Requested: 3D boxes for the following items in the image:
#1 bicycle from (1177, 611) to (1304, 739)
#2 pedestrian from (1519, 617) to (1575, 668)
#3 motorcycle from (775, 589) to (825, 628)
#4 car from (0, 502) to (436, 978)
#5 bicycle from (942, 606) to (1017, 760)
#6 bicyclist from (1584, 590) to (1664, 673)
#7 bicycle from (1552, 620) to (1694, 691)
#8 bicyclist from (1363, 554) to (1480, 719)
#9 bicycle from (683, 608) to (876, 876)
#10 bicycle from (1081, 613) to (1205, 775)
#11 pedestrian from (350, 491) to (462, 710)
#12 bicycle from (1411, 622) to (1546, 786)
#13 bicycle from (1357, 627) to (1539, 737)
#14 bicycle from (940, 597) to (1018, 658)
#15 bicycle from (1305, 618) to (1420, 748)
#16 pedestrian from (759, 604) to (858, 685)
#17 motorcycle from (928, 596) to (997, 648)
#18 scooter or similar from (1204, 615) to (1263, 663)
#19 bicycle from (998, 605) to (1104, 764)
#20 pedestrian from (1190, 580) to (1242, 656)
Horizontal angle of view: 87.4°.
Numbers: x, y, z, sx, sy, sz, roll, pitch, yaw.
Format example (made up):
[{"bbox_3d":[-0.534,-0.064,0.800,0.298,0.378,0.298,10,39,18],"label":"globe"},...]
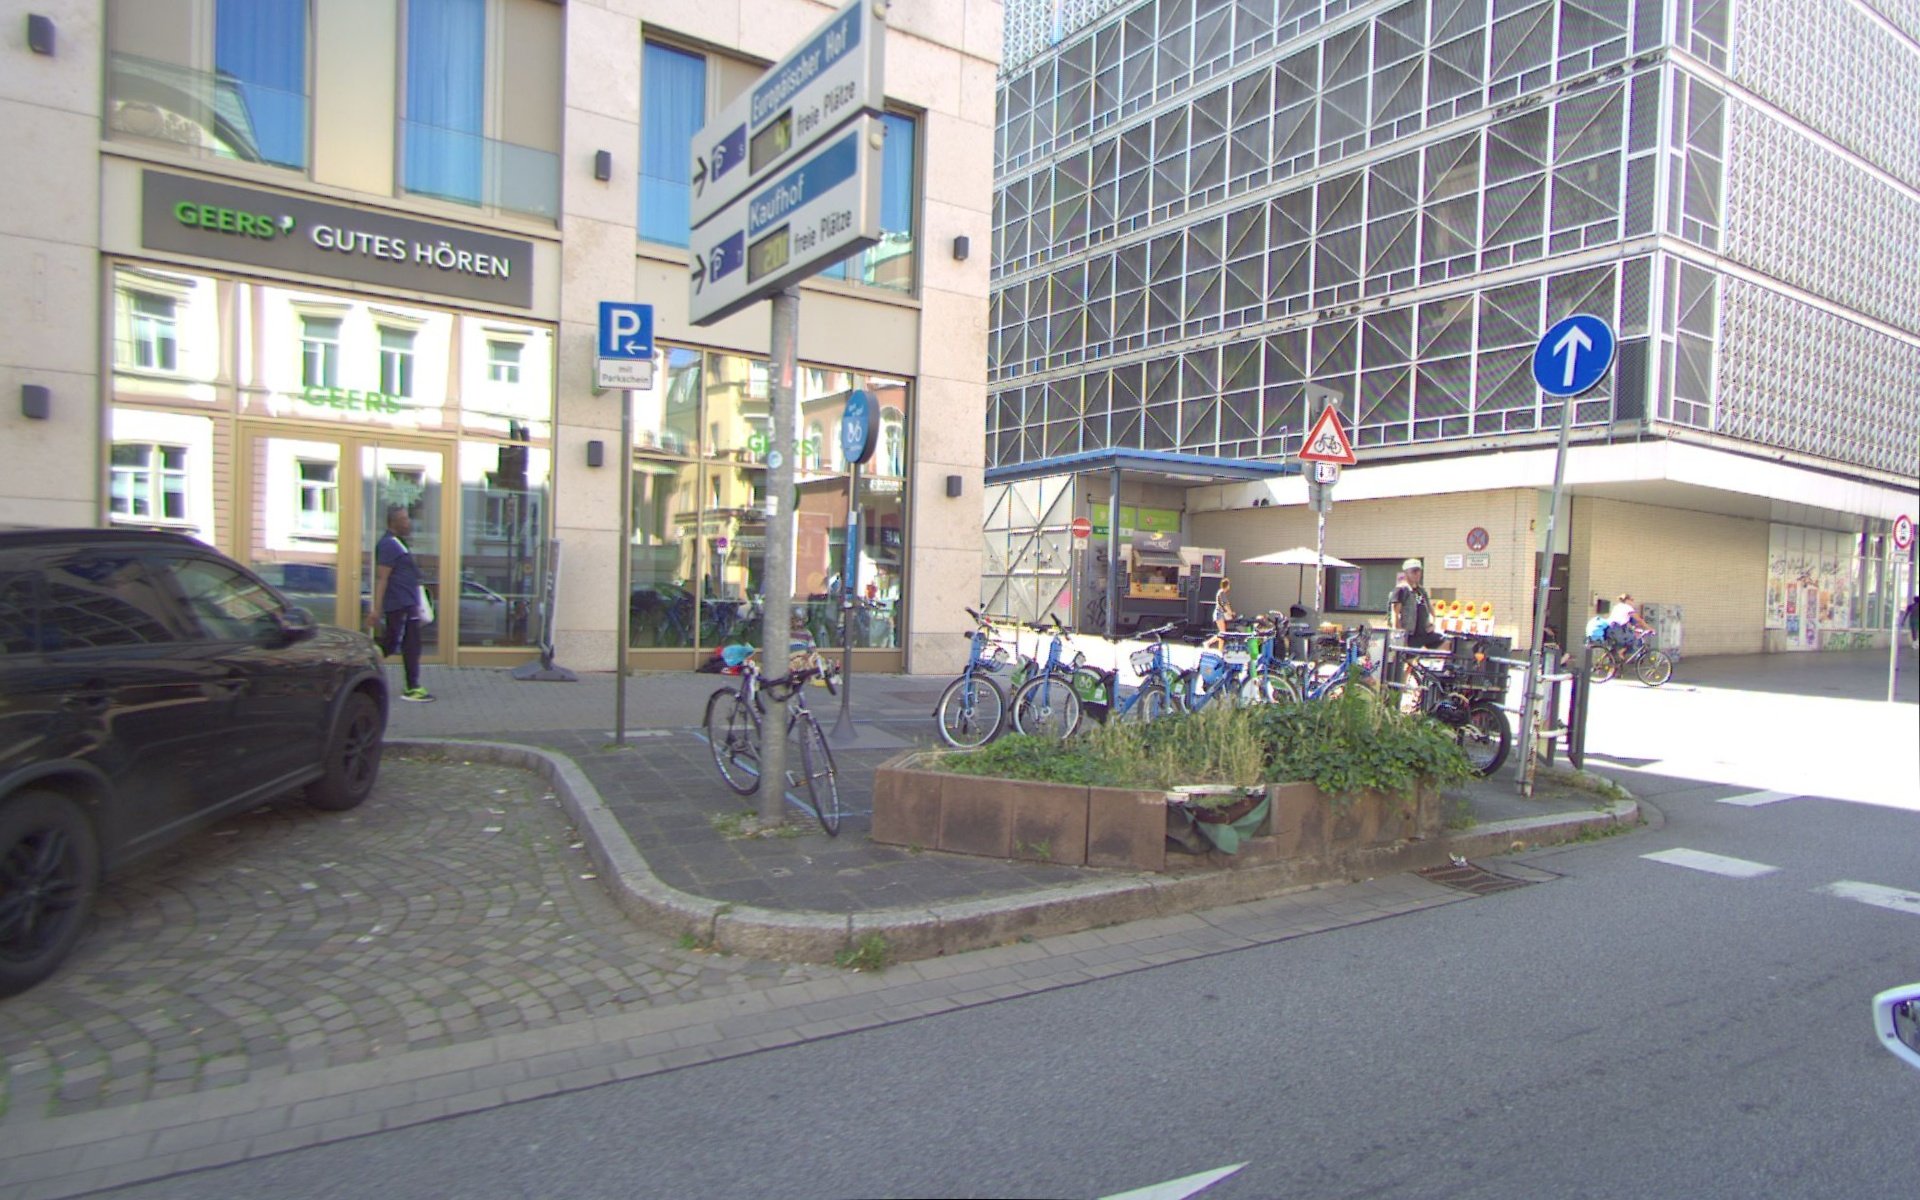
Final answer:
[{"bbox_3d":[2.869,0.720,10.515,0.634,1.142,2.063,1,1,-3],"label":"bicycle"},{"bbox_3d":[13.397,0.956,22.930,0.831,1.071,0.717,1,5,-31],"label":"pedestrian"},{"bbox_3d":[-5.169,0.257,32.643,0.693,1.189,2.064,2,2,19],"label":"motorcycle"},{"bbox_3d":[-4.352,0.362,4.759,1.922,1.624,4.029,3,2,-6],"label":"car"},{"bbox_3d":[0.137,0.678,9.003,0.475,1.142,1.865,1,3,-4],"label":"bicycle"},{"bbox_3d":[12.857,0.591,19.488,1.055,1.560,0.736,1,1,8],"label":"bicyclist"},{"bbox_3d":[12.836,1.051,19.493,2.166,1.284,0.736,1,1,8],"label":"bicycle"},{"bbox_3d":[5.833,0.447,12.714,1.003,1.986,0.840,1,1,-23],"label":"bicyclist"},{"bbox_3d":[-1.125,0.679,5.787,0.478,1.142,2.131,0,3,-27],"label":"bicycle"},{"bbox_3d":[1.552,0.753,8.883,0.551,1.142,2.062,1,3,-4],"label":"bicycle"},{"bbox_3d":[-5.087,-0.017,9.251,0.834,1.904,0.834,1,5,-29],"label":"pedestrian"},{"bbox_3d":[4.512,0.832,8.881,0.593,1.189,2.065,3,1,16],"label":"bicycle"},{"bbox_3d":[5.919,0.948,12.329,0.787,1.142,1.983,0,1,-22],"label":"bicycle"},{"bbox_3d":[0.364,0.551,20.833,0.632,1.141,2.049,5,-1,-29],"label":"bicycle"},{"bbox_3d":[4.154,0.801,10.510,0.593,1.184,2.066,2,0,8],"label":"bicycle"},{"bbox_3d":[-1.941,0.539,12.766,0.831,0.938,1.243,1,1,-30],"label":"pedestrian"},{"bbox_3d":[0.085,0.506,24.535,0.646,1.189,2.058,0,1,34],"label":"motorcycle"},{"bbox_3d":[6.104,0.853,22.413,0.958,0.977,0.897,3,1,40],"label":"scooter or similar"},{"bbox_3d":[0.768,0.684,9.201,0.551,1.142,2.327,2,3,-4],"label":"bicycle"},{"bbox_3d":[5.829,0.394,22.852,0.832,1.681,0.836,3,3,42],"label":"pedestrian"}]
